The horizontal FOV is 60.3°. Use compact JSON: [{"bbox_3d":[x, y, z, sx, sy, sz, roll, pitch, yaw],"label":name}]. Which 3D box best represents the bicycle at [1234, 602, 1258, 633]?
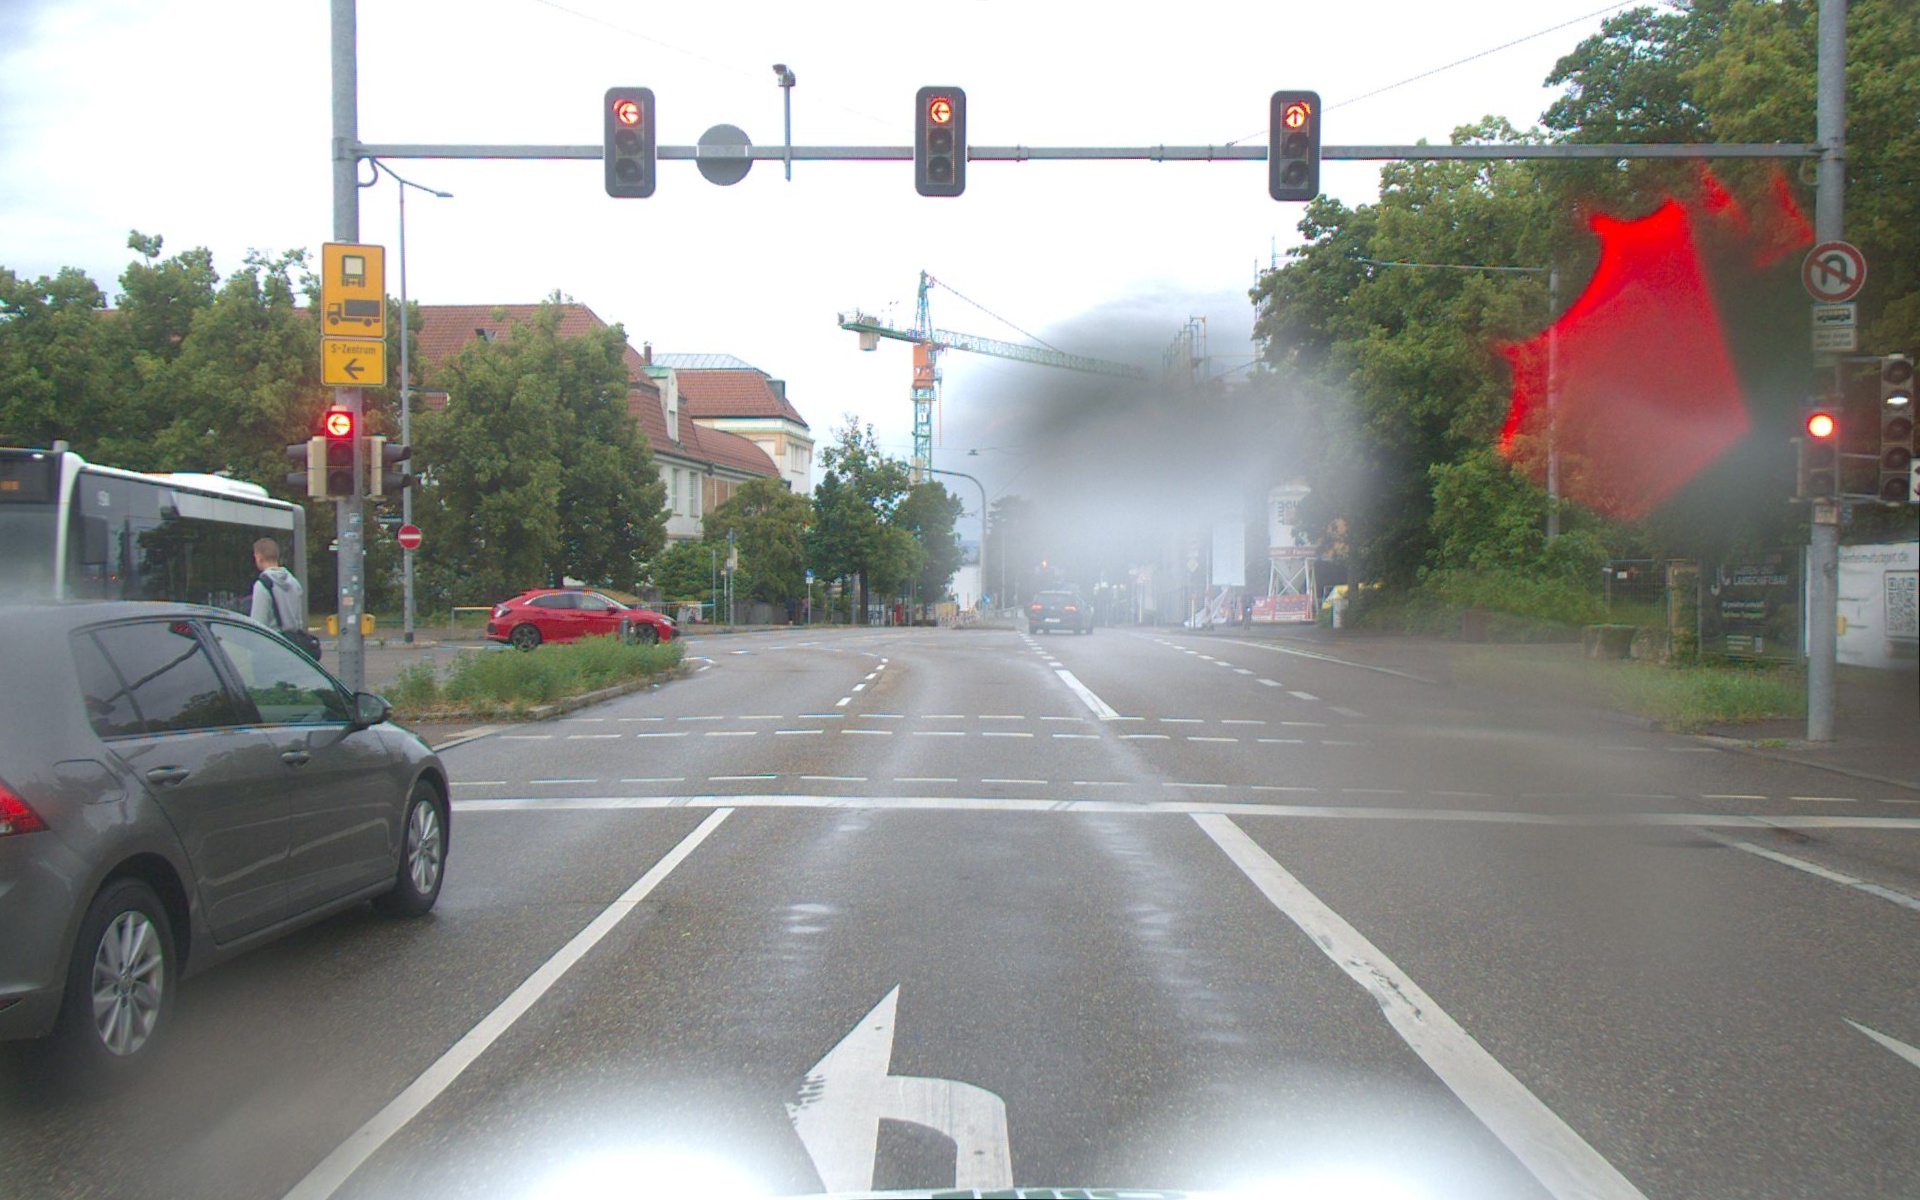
[{"bbox_3d":[11.584,0.702,67.080,0.705,1.214,1.756,1,-1,2],"label":"bicycle"}]

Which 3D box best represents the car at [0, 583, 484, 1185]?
[{"bbox_3d":[-3.238,0.704,6.040,1.769,1.454,4.197,-2,0,0],"label":"car"}]

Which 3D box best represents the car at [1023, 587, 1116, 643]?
[{"bbox_3d":[3.712,0.530,55.630,1.953,1.736,3.999,1,-2,22],"label":"car"}]

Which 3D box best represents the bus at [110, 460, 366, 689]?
[{"bbox_3d":[-12.250,-0.411,28.866,2.841,3.365,8.540,-1,0,-15],"label":"bus"}]

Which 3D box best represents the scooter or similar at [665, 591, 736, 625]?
[{"bbox_3d":[-11.617,0.362,74.135,3.025,1.465,0.948,-1,0,-2],"label":"scooter or similar"}]

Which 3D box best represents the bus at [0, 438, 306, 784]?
[{"bbox_3d":[-10.261,0.076,19.743,2.837,3.157,9.729,-1,0,-11],"label":"bus"}]

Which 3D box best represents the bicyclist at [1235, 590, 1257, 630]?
[{"bbox_3d":[11.603,0.408,67.039,0.705,1.591,1.143,1,-2,2],"label":"bicyclist"}]

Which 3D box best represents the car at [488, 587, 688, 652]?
[{"bbox_3d":[-8.762,0.435,38.855,4.435,1.450,1.990,0,0,-19],"label":"car"}]

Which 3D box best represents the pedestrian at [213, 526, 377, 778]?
[{"bbox_3d":[-5.679,0.430,14.165,0.920,2.048,0.847,-3,0,6],"label":"pedestrian"}]
